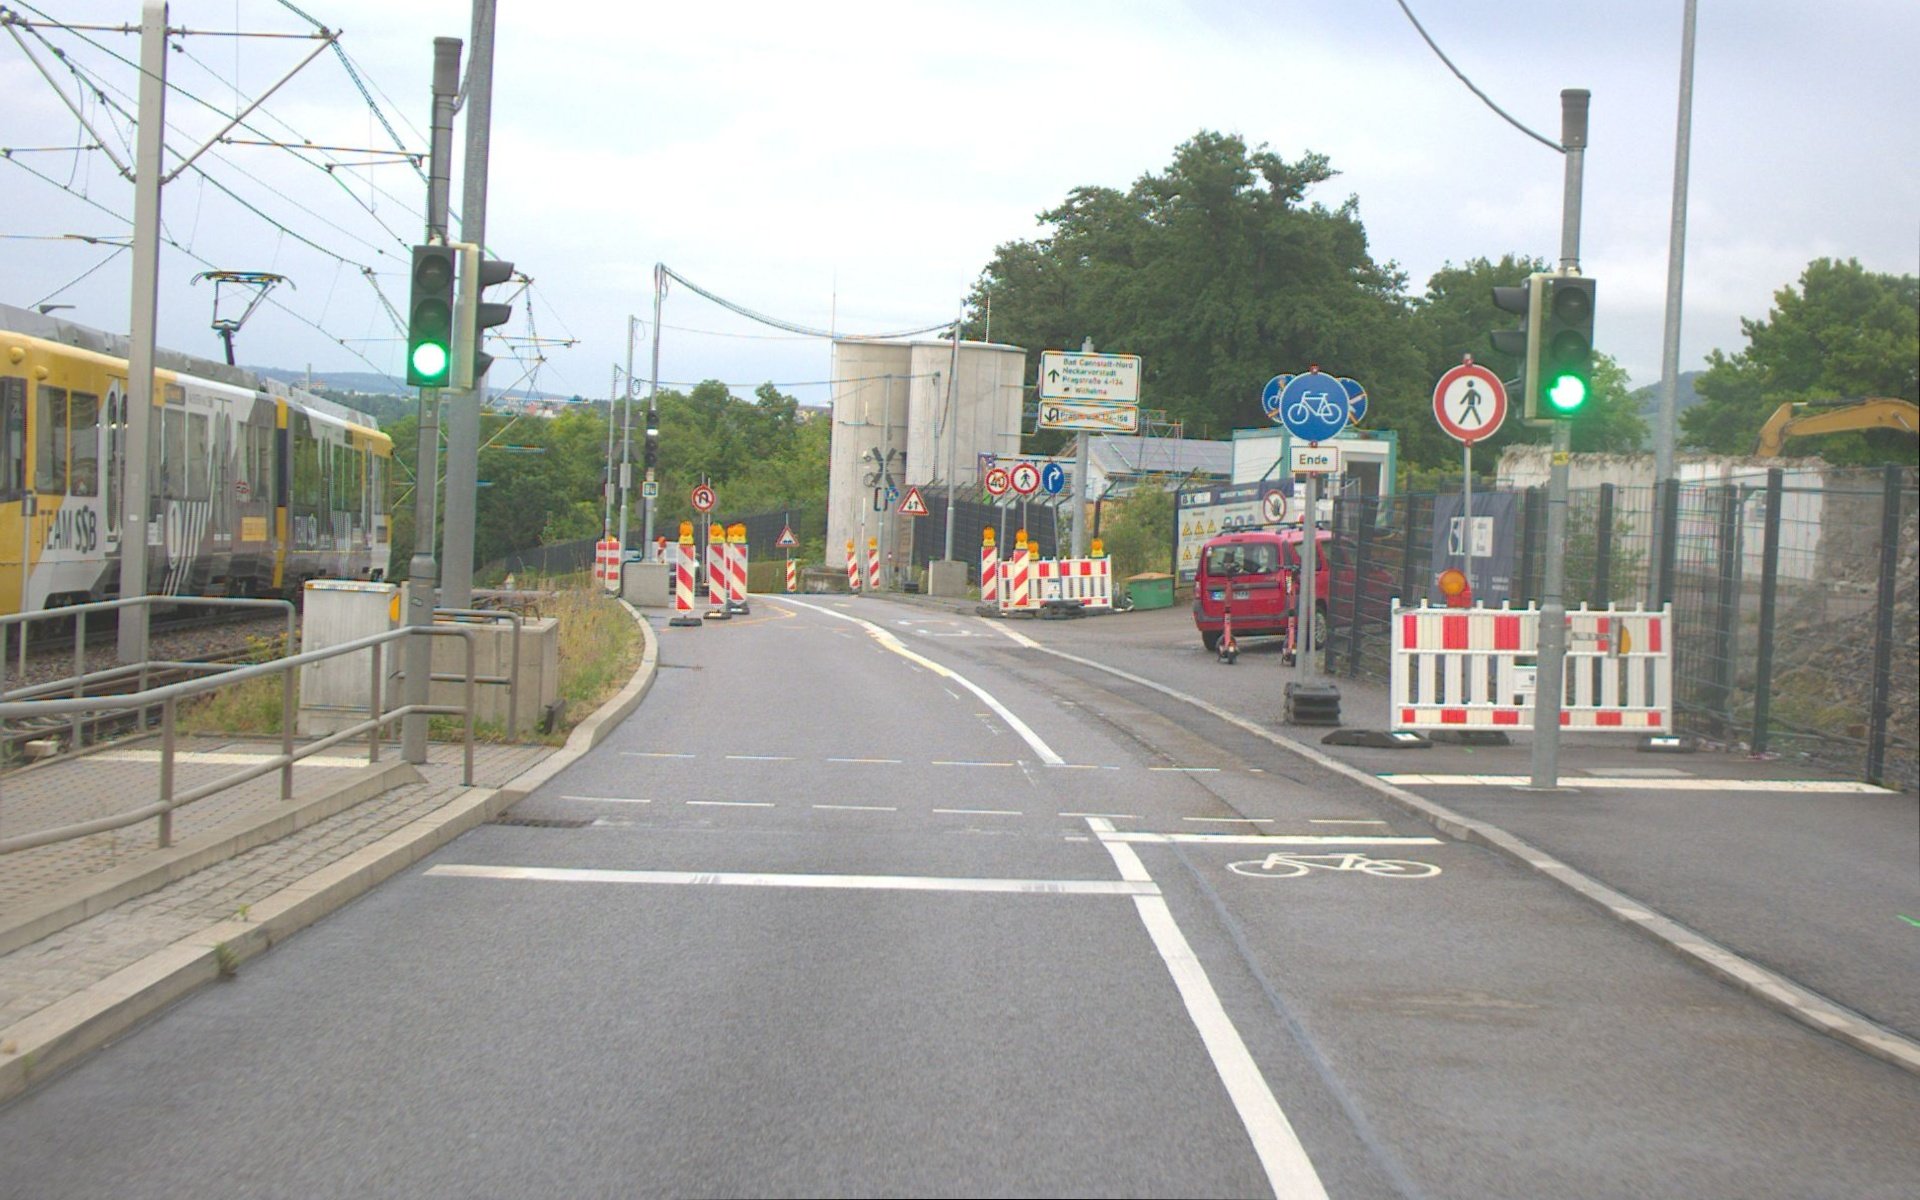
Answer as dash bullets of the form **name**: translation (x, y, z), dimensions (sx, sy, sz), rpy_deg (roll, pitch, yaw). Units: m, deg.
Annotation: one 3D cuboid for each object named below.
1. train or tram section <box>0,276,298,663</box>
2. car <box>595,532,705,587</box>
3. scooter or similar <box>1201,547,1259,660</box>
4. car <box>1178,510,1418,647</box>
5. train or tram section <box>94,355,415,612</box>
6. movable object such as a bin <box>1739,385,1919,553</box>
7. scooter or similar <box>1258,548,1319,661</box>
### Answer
- **train or tram section**: translation (-11.485, -1.585, 44.014), dimensions (2.955, 3.872, 19.575), rpy_deg (3, 1, -3)
- **car**: translation (-9.697, -1.274, 107.278), dimensions (1.993, 1.672, 4.489), rpy_deg (1, 1, -25)
- **scooter or similar**: translation (3.382, 0.028, 43.163), dimensions (0.615, 1.346, 1.912), rpy_deg (2, 1, 3)
- **car**: translation (4.833, -0.318, 48.568), dimensions (1.822, 1.787, 4.402), rpy_deg (2, 1, 27)
- **train or tram section**: translation (-12.554, -2.045, 63.406), dimensions (2.955, 3.872, 19.294), rpy_deg (3, 1, -4)
- **movable object such as a bin**: translation (34.820, -4.753, 126.998), dimensions (11.233, 5.975, 3.491), rpy_deg (1, 1, 5)
- **scooter or similar**: translation (4.082, 0.041, 42.826), dimensions (0.615, 1.346, 1.912), rpy_deg (2, 1, 3)
